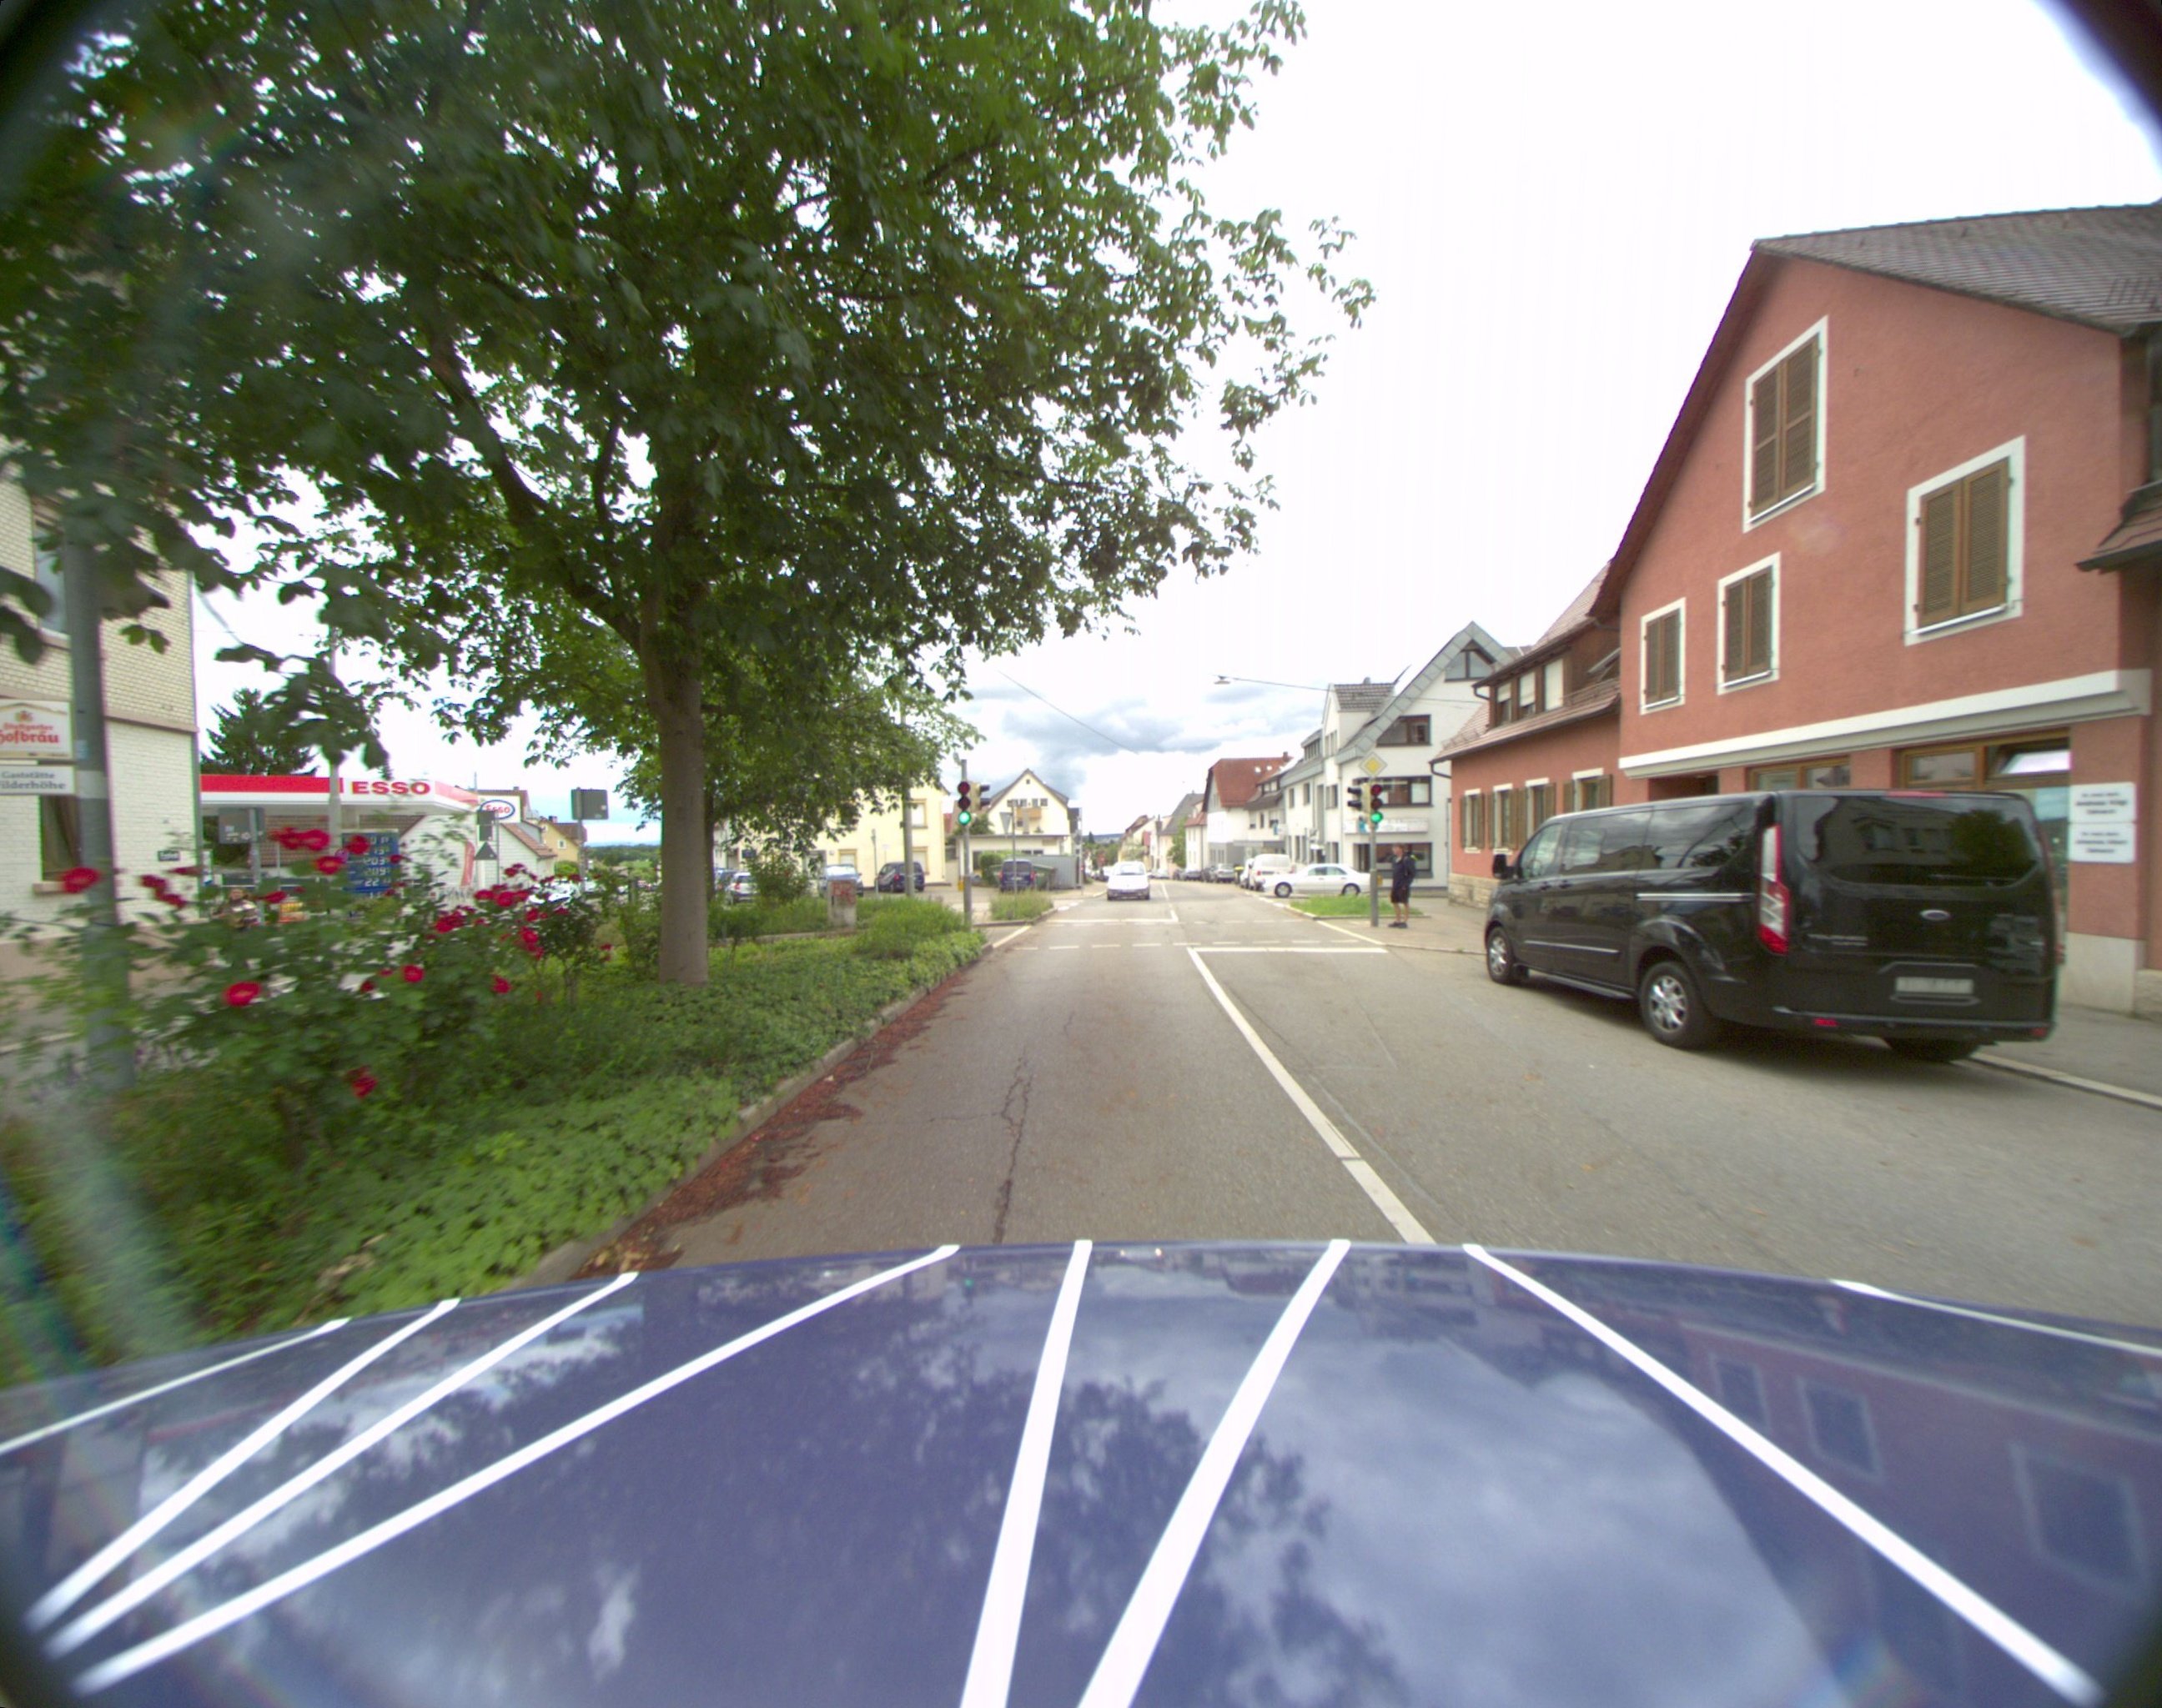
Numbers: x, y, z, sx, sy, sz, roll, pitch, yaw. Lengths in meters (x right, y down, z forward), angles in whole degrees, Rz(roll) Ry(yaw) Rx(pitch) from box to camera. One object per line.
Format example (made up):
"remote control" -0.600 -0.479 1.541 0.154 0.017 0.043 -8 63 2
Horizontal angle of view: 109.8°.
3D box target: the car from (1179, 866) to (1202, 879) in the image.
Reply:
"car" 12.060 2.041 83.806 1.842 1.436 4.468 1 -1 -1

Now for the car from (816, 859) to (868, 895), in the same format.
"car" -13.174 1.262 41.694 1.905 1.792 4.884 -3 -1 -26

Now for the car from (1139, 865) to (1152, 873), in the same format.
"car" 10.890 2.497 127.787 1.706 1.401 3.735 2 -1 -2

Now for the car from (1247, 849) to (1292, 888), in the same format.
"car" 10.206 0.776 41.355 1.815 1.993 4.766 1 -1 7

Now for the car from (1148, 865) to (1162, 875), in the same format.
"car" 10.928 2.382 112.156 1.653 1.438 3.775 0 -1 1

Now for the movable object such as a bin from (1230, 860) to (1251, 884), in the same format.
"movable object such as a bin" 11.133 1.234 53.126 1.143 1.623 1.563 0 -1 -1

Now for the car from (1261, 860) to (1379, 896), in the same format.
"car" 9.977 0.991 32.041 4.561 1.436 2.002 0 0 11

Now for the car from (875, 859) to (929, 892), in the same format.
"car" -10.440 1.284 44.189 1.872 1.717 3.992 -3 -1 -31

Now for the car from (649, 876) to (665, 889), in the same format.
"car" -72.017 4.877 129.035 2.003 2.001 3.991 -3 -1 -33

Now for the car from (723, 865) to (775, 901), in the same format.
"car" -16.449 1.443 37.551 1.778 1.608 3.991 -3 -1 -31

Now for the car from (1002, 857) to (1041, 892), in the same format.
"car" -3.053 1.057 39.609 1.751 1.729 4.572 1 -1 -1

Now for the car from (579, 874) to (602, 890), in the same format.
"car" -54.605 3.112 84.680 1.879 1.586 3.892 -3 -1 -30

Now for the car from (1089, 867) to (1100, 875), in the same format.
"car" 2.458 3.092 139.028 1.613 1.446 3.859 -3 -1 -2

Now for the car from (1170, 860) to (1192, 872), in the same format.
"car" 11.828 1.413 90.016 1.842 1.436 3.999 1 -1 -4

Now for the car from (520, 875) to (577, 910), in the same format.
"car" -23.550 1.703 33.728 1.778 1.470 3.822 1 -3 -31

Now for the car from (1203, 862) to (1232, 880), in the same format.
"car" 12.552 1.537 70.281 1.842 1.623 4.408 0 -1 -1

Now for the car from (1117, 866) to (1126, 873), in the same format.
"car" 9.376 3.633 176.570 1.706 1.523 3.735 2 -1 -2

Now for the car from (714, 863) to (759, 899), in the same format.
"car" -19.557 1.563 43.058 1.778 1.931 4.315 1 -3 -31

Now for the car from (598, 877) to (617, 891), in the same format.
"car" -58.694 3.778 94.254 1.879 1.586 3.892 -3 -1 -30

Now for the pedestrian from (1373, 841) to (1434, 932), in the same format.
"pedestrian" 6.495 0.647 15.343 0.891 1.774 0.803 -2 0 7

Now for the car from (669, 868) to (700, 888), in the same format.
"car" -37.129 2.256 71.111 2.285 1.720 3.992 -3 -1 -30

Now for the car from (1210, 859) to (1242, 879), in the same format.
"car" 12.241 1.283 64.414 1.842 1.623 4.408 0 -1 -1

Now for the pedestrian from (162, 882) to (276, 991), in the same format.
"pedestrian" -14.663 1.357 12.963 0.861 1.722 1.020 -3 0 -22

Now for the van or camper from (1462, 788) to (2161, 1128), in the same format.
"van or camper" 5.595 0.618 6.987 2.078 1.994 4.859 1 0 5

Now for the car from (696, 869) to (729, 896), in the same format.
"car" -26.227 2.018 53.973 1.725 1.720 3.992 -3 -1 -30

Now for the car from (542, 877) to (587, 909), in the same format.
"car" -28.632 2.139 42.242 1.725 1.586 3.992 -3 -1 -30

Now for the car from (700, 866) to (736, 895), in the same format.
"car" -23.614 1.750 49.332 1.725 1.720 3.992 -3 -1 -30

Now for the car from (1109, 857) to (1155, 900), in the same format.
"car" 2.081 0.982 31.914 1.721 1.586 4.001 -3 -1 2

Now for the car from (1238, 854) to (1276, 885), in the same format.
"car" 10.846 0.958 47.052 1.737 1.821 4.300 1 -1 5

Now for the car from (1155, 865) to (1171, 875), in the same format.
"car" 11.519 2.213 106.957 1.654 1.438 3.811 0 -1 -1

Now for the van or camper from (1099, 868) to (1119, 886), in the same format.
"van or camper" 3.463 2.818 94.421 1.999 2.001 5.064 -4 -1 -2

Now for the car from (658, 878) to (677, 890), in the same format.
"car" -61.881 4.474 113.727 2.285 1.720 3.992 -3 -1 -30
